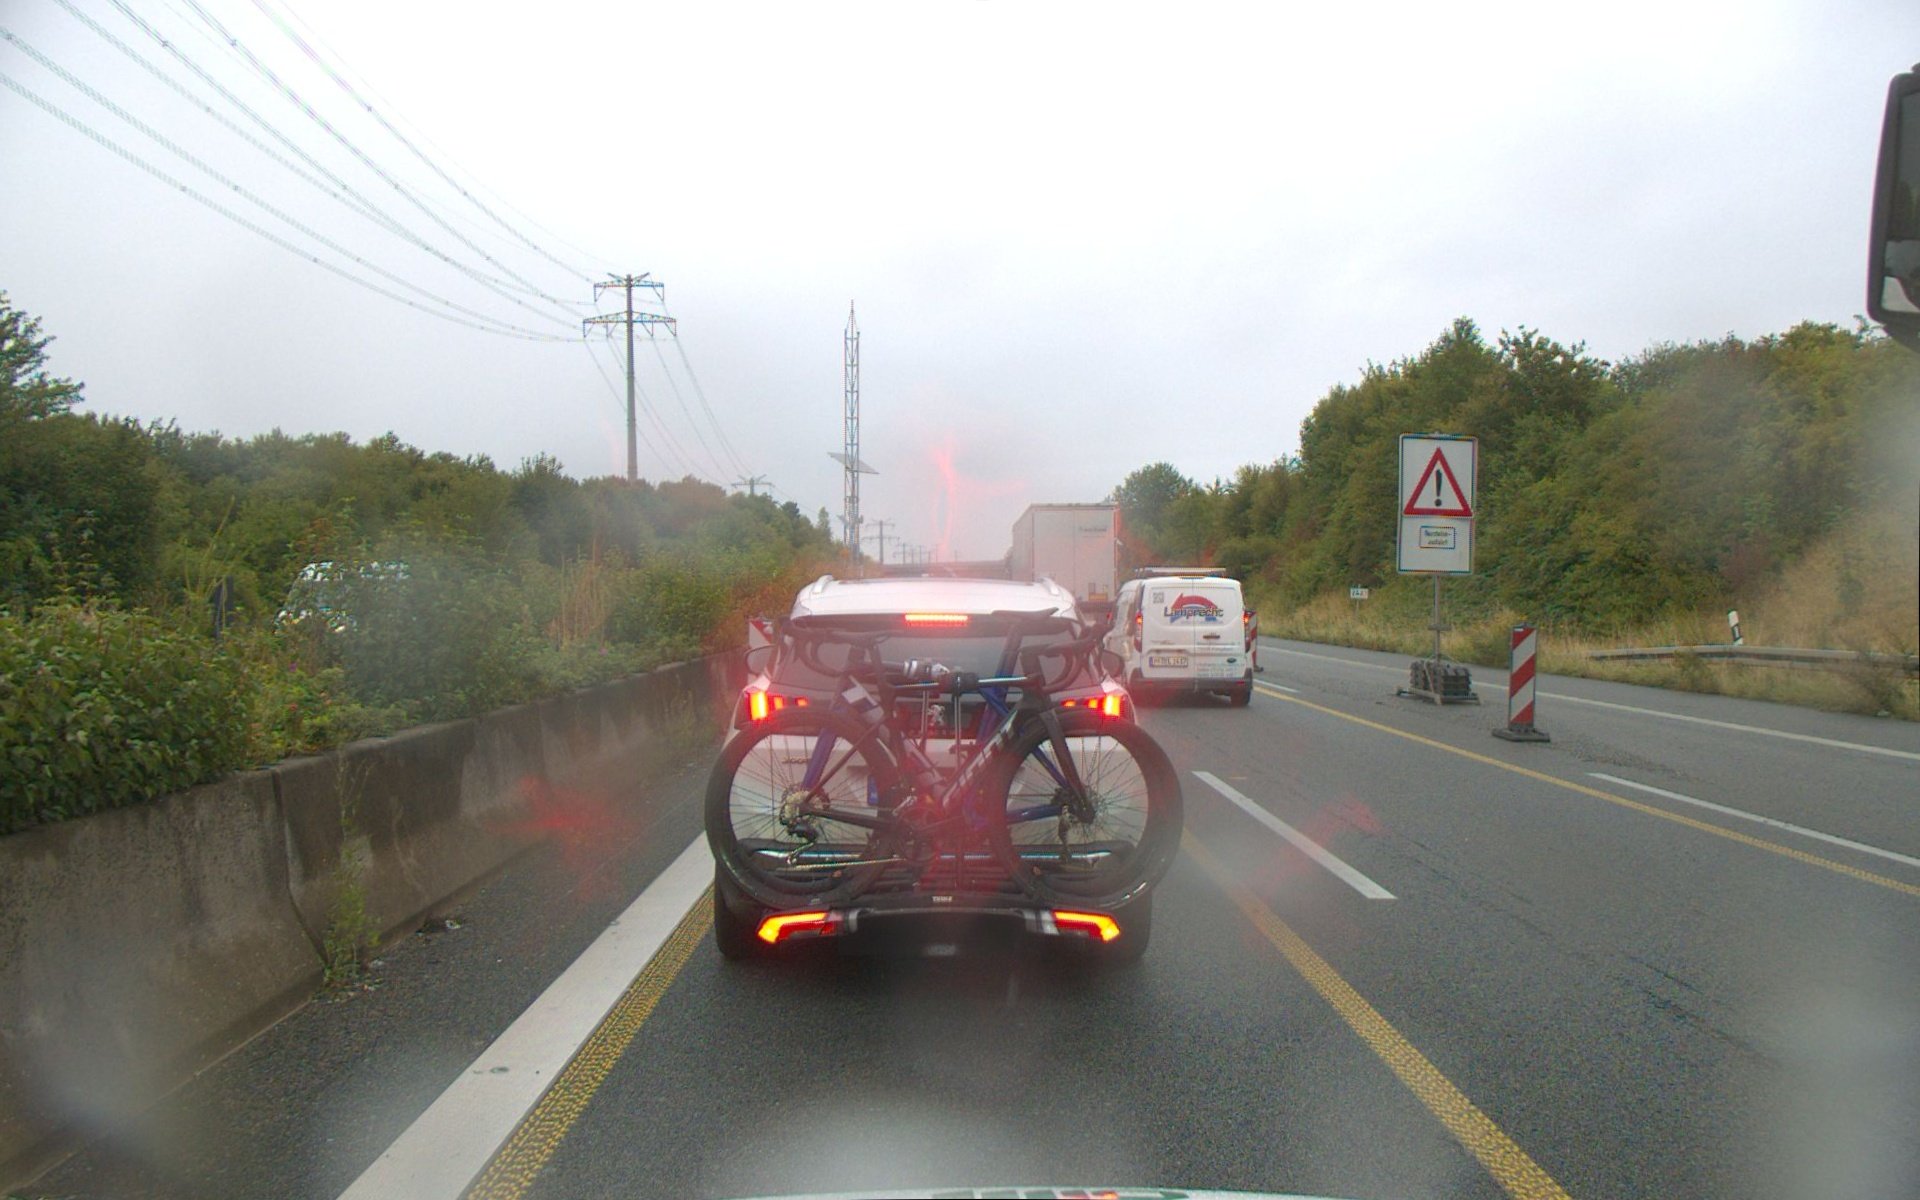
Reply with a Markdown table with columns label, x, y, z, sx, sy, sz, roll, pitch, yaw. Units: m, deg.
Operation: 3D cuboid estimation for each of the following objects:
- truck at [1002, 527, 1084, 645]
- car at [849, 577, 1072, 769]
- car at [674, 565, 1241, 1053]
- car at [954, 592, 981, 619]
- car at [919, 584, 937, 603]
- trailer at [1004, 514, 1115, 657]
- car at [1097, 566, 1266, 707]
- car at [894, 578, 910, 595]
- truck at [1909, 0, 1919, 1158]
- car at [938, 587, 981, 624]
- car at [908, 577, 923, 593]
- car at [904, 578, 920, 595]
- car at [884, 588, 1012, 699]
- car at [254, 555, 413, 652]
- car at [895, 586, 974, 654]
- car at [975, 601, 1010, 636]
| label | x | y | z | sx | sy | sz | roll | pitch | yaw |
| --- | --- | --- | --- | --- | --- | --- | --- | --- | --- |
| truck | 2.991 | -0.509 | 61.393 | 2.606 | 4.148 | 6.538 | 0 | 0 | -1 |
| car | -0.022 | 0.585 | 15.496 | 1.812 | 1.557 | 3.999 | 0 | 0 | -1 |
| car | -0.038 | 0.659 | 7.682 | 1.812 | 1.557 | 4.768 | 0 | 0 | -1 |
| car | 0.560 | 0.440 | 133.856 | 2.104 | 2.008 | 4.000 | 0 | 1 | -1 |
| car | -3.549 | -0.688 | 184.191 | 1.892 | 2.008 | 4.000 | 0 | 1 | -1 |
| trailer | 3.075 | -0.452 | 54.630 | 2.638 | 4.148 | 13.631 | 0 | 0 | -1 |
| car | 3.152 | 0.476 | 24.399 | 1.792 | 1.871 | 4.654 | 0 | 0 | -1 |
| car | -8.516 | -1.948 | 242.698 | 2.212 | 2.467 | 4.000 | 0 | 1 | -1 |
| truck | 3.905 | -0.617 | 1.603 | 2.651 | 4.211 | 5.689 | 0 | 0 | -1 |
| car | -0.054 | 0.213 | 71.419 | 1.812 | 1.557 | 3.999 | 0 | 0 | -1 |
| car | -5.787 | -2.015 | 216.036 | 1.892 | 2.008 | 4.000 | 0 | 1 | -1 |
| car | -5.862 | -1.690 | 203.141 | 1.892 | 1.944 | 4.000 | 0 | 1 | -1 |
| car | -0.195 | 0.608 | 25.446 | 1.812 | 1.557 | 3.999 | 0 | 0 | -1 |
| car | -15.801 | 0.071 | 42.051 | 2.136 | 2.304 | 5.203 | 0 | 0 | -1 |
| car | -0.614 | 0.459 | 40.167 | 1.812 | 1.557 | 3.999 | 0 | 0 | -1 |
| car | 2.023 | 1.142 | 104.176 | 2.067 | 2.008 | 4.000 | 0 | 1 | -1 |
